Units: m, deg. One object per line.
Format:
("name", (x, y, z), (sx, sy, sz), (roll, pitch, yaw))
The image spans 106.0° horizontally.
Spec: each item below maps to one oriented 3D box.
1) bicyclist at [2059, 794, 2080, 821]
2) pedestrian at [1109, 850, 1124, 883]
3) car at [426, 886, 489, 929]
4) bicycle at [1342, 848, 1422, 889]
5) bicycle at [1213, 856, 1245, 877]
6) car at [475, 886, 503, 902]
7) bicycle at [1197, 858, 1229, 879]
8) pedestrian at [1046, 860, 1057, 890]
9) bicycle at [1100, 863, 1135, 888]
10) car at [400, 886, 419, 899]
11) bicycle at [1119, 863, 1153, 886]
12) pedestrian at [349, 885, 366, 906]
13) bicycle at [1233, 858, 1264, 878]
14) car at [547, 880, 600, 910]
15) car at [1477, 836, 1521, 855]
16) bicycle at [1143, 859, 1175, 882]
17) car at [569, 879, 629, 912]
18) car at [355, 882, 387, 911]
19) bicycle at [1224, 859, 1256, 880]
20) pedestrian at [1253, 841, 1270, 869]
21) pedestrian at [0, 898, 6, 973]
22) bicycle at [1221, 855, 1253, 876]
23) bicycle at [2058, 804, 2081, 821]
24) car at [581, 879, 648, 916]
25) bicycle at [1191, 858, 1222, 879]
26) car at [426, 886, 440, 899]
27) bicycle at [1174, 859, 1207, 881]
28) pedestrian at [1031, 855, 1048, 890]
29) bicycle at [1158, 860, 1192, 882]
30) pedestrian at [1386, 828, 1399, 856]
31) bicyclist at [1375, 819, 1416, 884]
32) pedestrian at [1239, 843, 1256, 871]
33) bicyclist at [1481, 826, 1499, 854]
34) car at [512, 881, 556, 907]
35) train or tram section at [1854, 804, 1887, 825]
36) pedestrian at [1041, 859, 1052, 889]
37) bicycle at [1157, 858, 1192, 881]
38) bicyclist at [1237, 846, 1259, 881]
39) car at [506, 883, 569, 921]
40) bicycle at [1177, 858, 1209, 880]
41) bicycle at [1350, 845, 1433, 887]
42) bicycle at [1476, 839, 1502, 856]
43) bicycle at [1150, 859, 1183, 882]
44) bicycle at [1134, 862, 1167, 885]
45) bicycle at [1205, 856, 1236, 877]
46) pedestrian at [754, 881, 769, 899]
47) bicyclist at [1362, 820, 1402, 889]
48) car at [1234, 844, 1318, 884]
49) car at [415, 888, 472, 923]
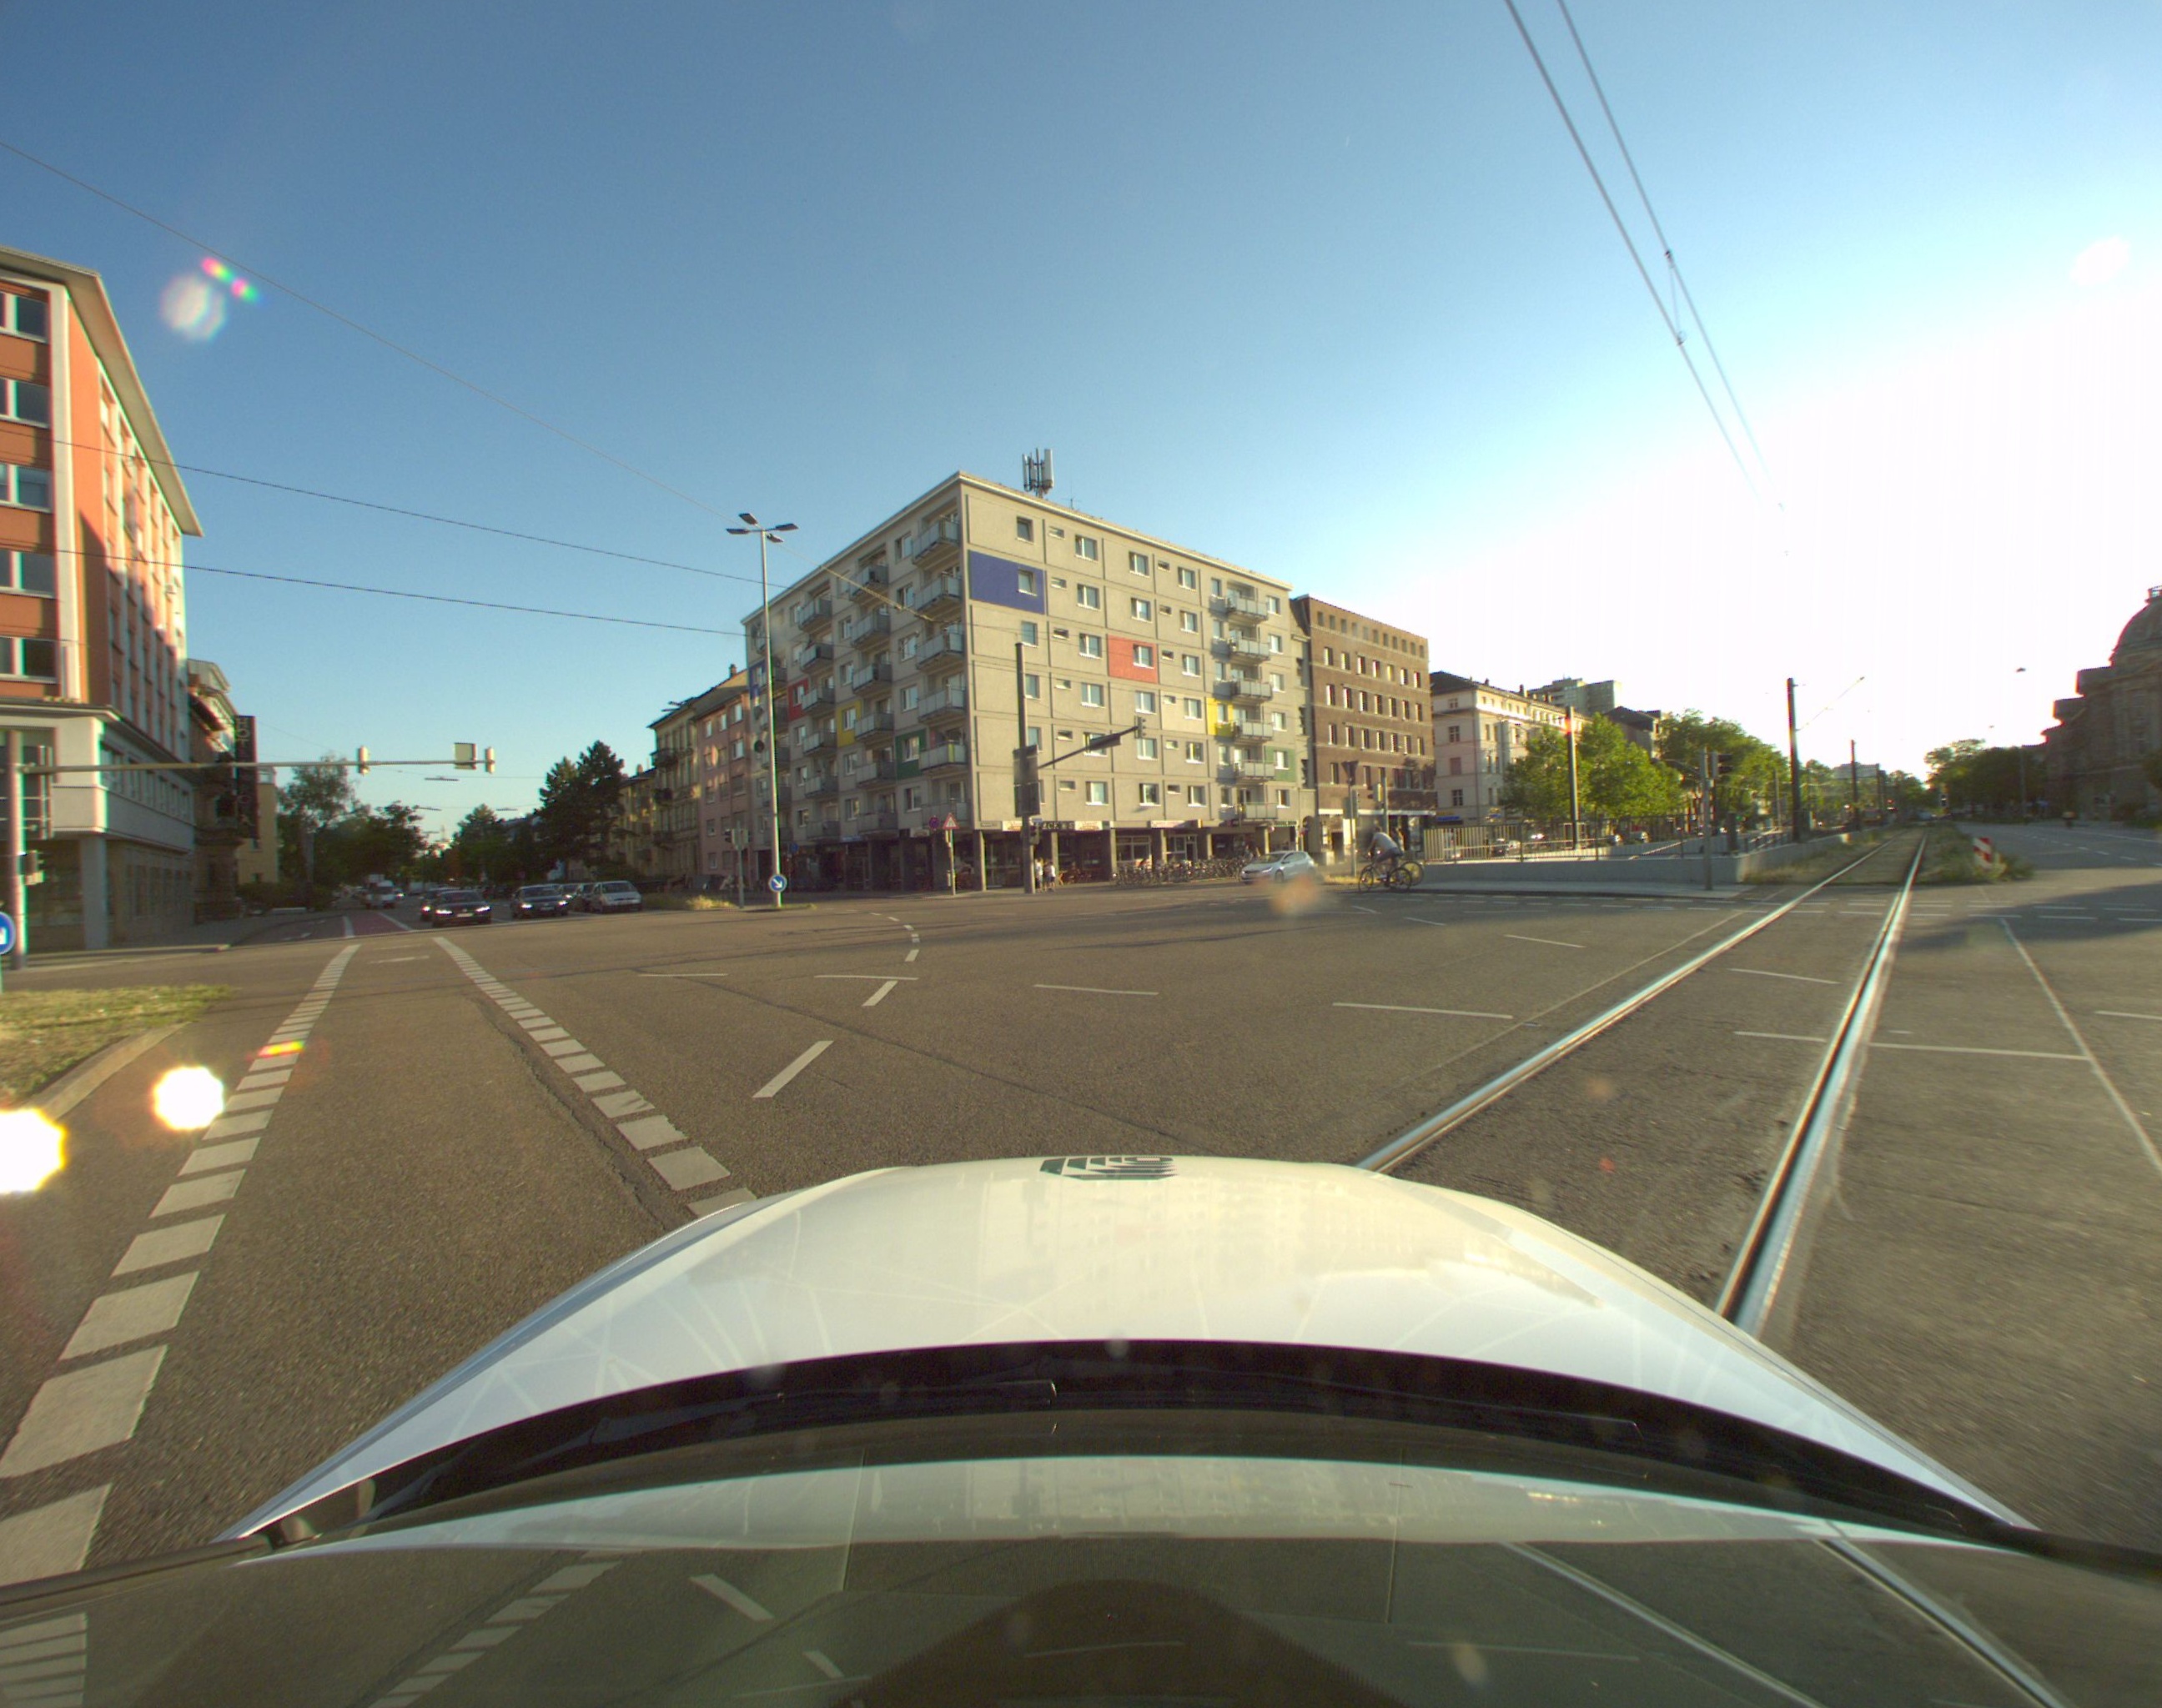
("bicyclist", (88.248, -4.136, 72.711), (0.992, 2.276, 1.072), (-2, 0, -43))
("pedestrian", (1.890, 0.661, 42.989), (0.547, 1.684, 0.577), (-2, 0, -21))
("car", (-25.656, 2.148, 33.473), (1.896, 1.486, 3.953), (-2, 0, -39))
("bicycle", (8.163, 0.402, 22.127), (1.882, 1.075, 0.636), (-2, 0, 40))
("bicycle", (8.420, 0.743, 46.354), (0.709, 1.153, 1.676), (-2, 0, -41))
("car", (-65.902, 4.430, 90.627), (2.011, 1.517, 4.169), (-3, 0, -42))
("bicycle", (7.382, 0.824, 45.489), (0.571, 1.119, 1.745), (-2, 0, -42))
("pedestrian", (-1.410, 1.002, 38.955), (0.378, 1.383, 0.397), (-2, 0, 19))
("bicycle", (1.864, 1.104, 41.636), (0.642, 1.208, 1.778), (-2, 0, -43))
("car", (-129.545, 7.437, 157.147), (2.640, 2.376, 5.192), (-3, 0, -41))
("bicycle", (2.830, 1.067, 42.080), (0.612, 1.142, 1.760), (-2, 0, -43))
("pedestrian", (-73.460, 4.220, 82.656), (0.932, 2.013, 1.033), (-2, 0, 35))
("bicycle", (9.896, 0.842, 48.104), (0.700, 1.144, 1.676), (-2, 0, -41))
("car", (-28.575, 2.275, 45.801), (2.010, 1.486, 3.953), (-3, 0, -39))
("car", (35.560, -0.709, 69.255), (4.021, 1.420, 1.804), (-3, 0, -39))
("bicycle", (4.051, 0.850, 42.423), (0.543, 1.167, 1.750), (-2, 0, -42))
("car", (-24.561, 2.071, 41.462), (2.010, 1.486, 3.953), (-3, 0, -39))
("car", (-62.440, 3.717, 71.651), (2.011, 2.324, 4.169), (-2, 0, -42))
("bicycle", (9.313, 0.910, 47.655), (0.752, 1.170, 1.676), (-2, 0, -41))
("pedestrian", (11.951, 0.066, 53.827), (0.778, 1.841, 0.739), (-3, 0, 39))
("pedestrian", (-28.633, 2.153, 21.082), (0.709, 1.946, 0.727), (-2, 0, 19))
("bicycle", (8.952, 0.664, 46.869), (0.752, 1.179, 1.676), (-2, 0, -41))
("bicycle", (88.185, -3.712, 72.638), (2.848, 1.399, 1.088), (-2, 0, -43))
("car", (-21.666, 1.973, 37.756), (2.010, 1.486, 3.953), (-3, 0, -39))
("bicycle", (6.933, 0.788, 45.105), (0.555, 1.117, 1.739), (-2, 0, -42))
("car", (-132.866, 7.880, 166.958), (2.011, 2.376, 3.952), (-2, 0, -41))
("bicycle", (5.957, 0.878, 44.331), (0.609, 1.159, 1.760), (-2, 0, -43))
("pedestrian", (-1.942, 0.863, 38.372), (0.567, 1.620, 0.606), (-2, 0, 16))
("bicycle", (5.077, 0.935, 44.244), (0.644, 1.160, 1.814), (-2, 0, -42))
("pedestrian", (25.174, -0.983, 65.834), (0.796, 2.178, 0.596), (-2, 0, -43))
("bicyclist", (9.217, -0.077, 23.903), (0.867, 1.818, 0.541), (-6, -2, 33))
("pedestrian", (11.124, 0.227, 54.327), (0.818, 1.812, 0.725), (-3, 0, 37))
("bicyclist", (30.773, -1.048, 61.278), (0.928, 2.013, 0.790), (-2, 0, -41))
("car", (-36.033, 2.587, 53.570), (2.010, 1.486, 3.953), (-3, 0, -39))
("train or tram section", (155.678, -7.714, 160.642), (4.345, 3.850, 11.480), (-2, 0, 43))
("pedestrian", (-1.684, 0.976, 39.558), (0.373, 1.448, 0.397), (-2, 0, 20))
("bicycle", (4.954, 0.827, 43.285), (0.655, 1.191, 1.772), (-2, 0, -43))
("bicyclist", (8.553, 0.504, 41.702), (0.794, 1.742, 0.697), (-2, 0, -31))
("car", (-24.932, 2.154, 37.332), (2.010, 1.486, 3.953), (-3, 0, -39))
("bicycle", (6.200, 0.835, 45.015), (0.609, 1.136, 1.755), (-2, 0, -42))
("bicycle", (9.120, 0.363, 23.978), (2.143, 1.083, 0.542), (-5, -1, 33))
("bicycle", (30.642, -0.495, 61.172), (2.425, 1.201, 0.806), (-3, 0, -41))
("bicycle", (4.487, 0.865, 42.822), (0.571, 1.181, 1.753), (-2, 0, -43))
("bicycle", (3.602, 1.003, 42.120), (0.603, 1.139, 1.741), (-2, 0, -42))
("bicycle", (7.867, 0.716, 45.918), (0.637, 1.124, 1.712), (-1, 0, -41))
("pedestrian", (-23.259, 2.645, 59.315), (0.783, 1.256, 0.717), (-3, -1, 44))
("bicyclist", (8.166, 0.011, 22.094), (0.785, 1.818, 0.650), (-2, 0, 39))
("car", (8.952, 0.419, 37.170), (4.022, 1.618, 1.674), (-3, 0, -42))
("car", (-32.525, 2.595, 41.513), (2.011, 1.531, 3.952), (-3, 1, -41))
